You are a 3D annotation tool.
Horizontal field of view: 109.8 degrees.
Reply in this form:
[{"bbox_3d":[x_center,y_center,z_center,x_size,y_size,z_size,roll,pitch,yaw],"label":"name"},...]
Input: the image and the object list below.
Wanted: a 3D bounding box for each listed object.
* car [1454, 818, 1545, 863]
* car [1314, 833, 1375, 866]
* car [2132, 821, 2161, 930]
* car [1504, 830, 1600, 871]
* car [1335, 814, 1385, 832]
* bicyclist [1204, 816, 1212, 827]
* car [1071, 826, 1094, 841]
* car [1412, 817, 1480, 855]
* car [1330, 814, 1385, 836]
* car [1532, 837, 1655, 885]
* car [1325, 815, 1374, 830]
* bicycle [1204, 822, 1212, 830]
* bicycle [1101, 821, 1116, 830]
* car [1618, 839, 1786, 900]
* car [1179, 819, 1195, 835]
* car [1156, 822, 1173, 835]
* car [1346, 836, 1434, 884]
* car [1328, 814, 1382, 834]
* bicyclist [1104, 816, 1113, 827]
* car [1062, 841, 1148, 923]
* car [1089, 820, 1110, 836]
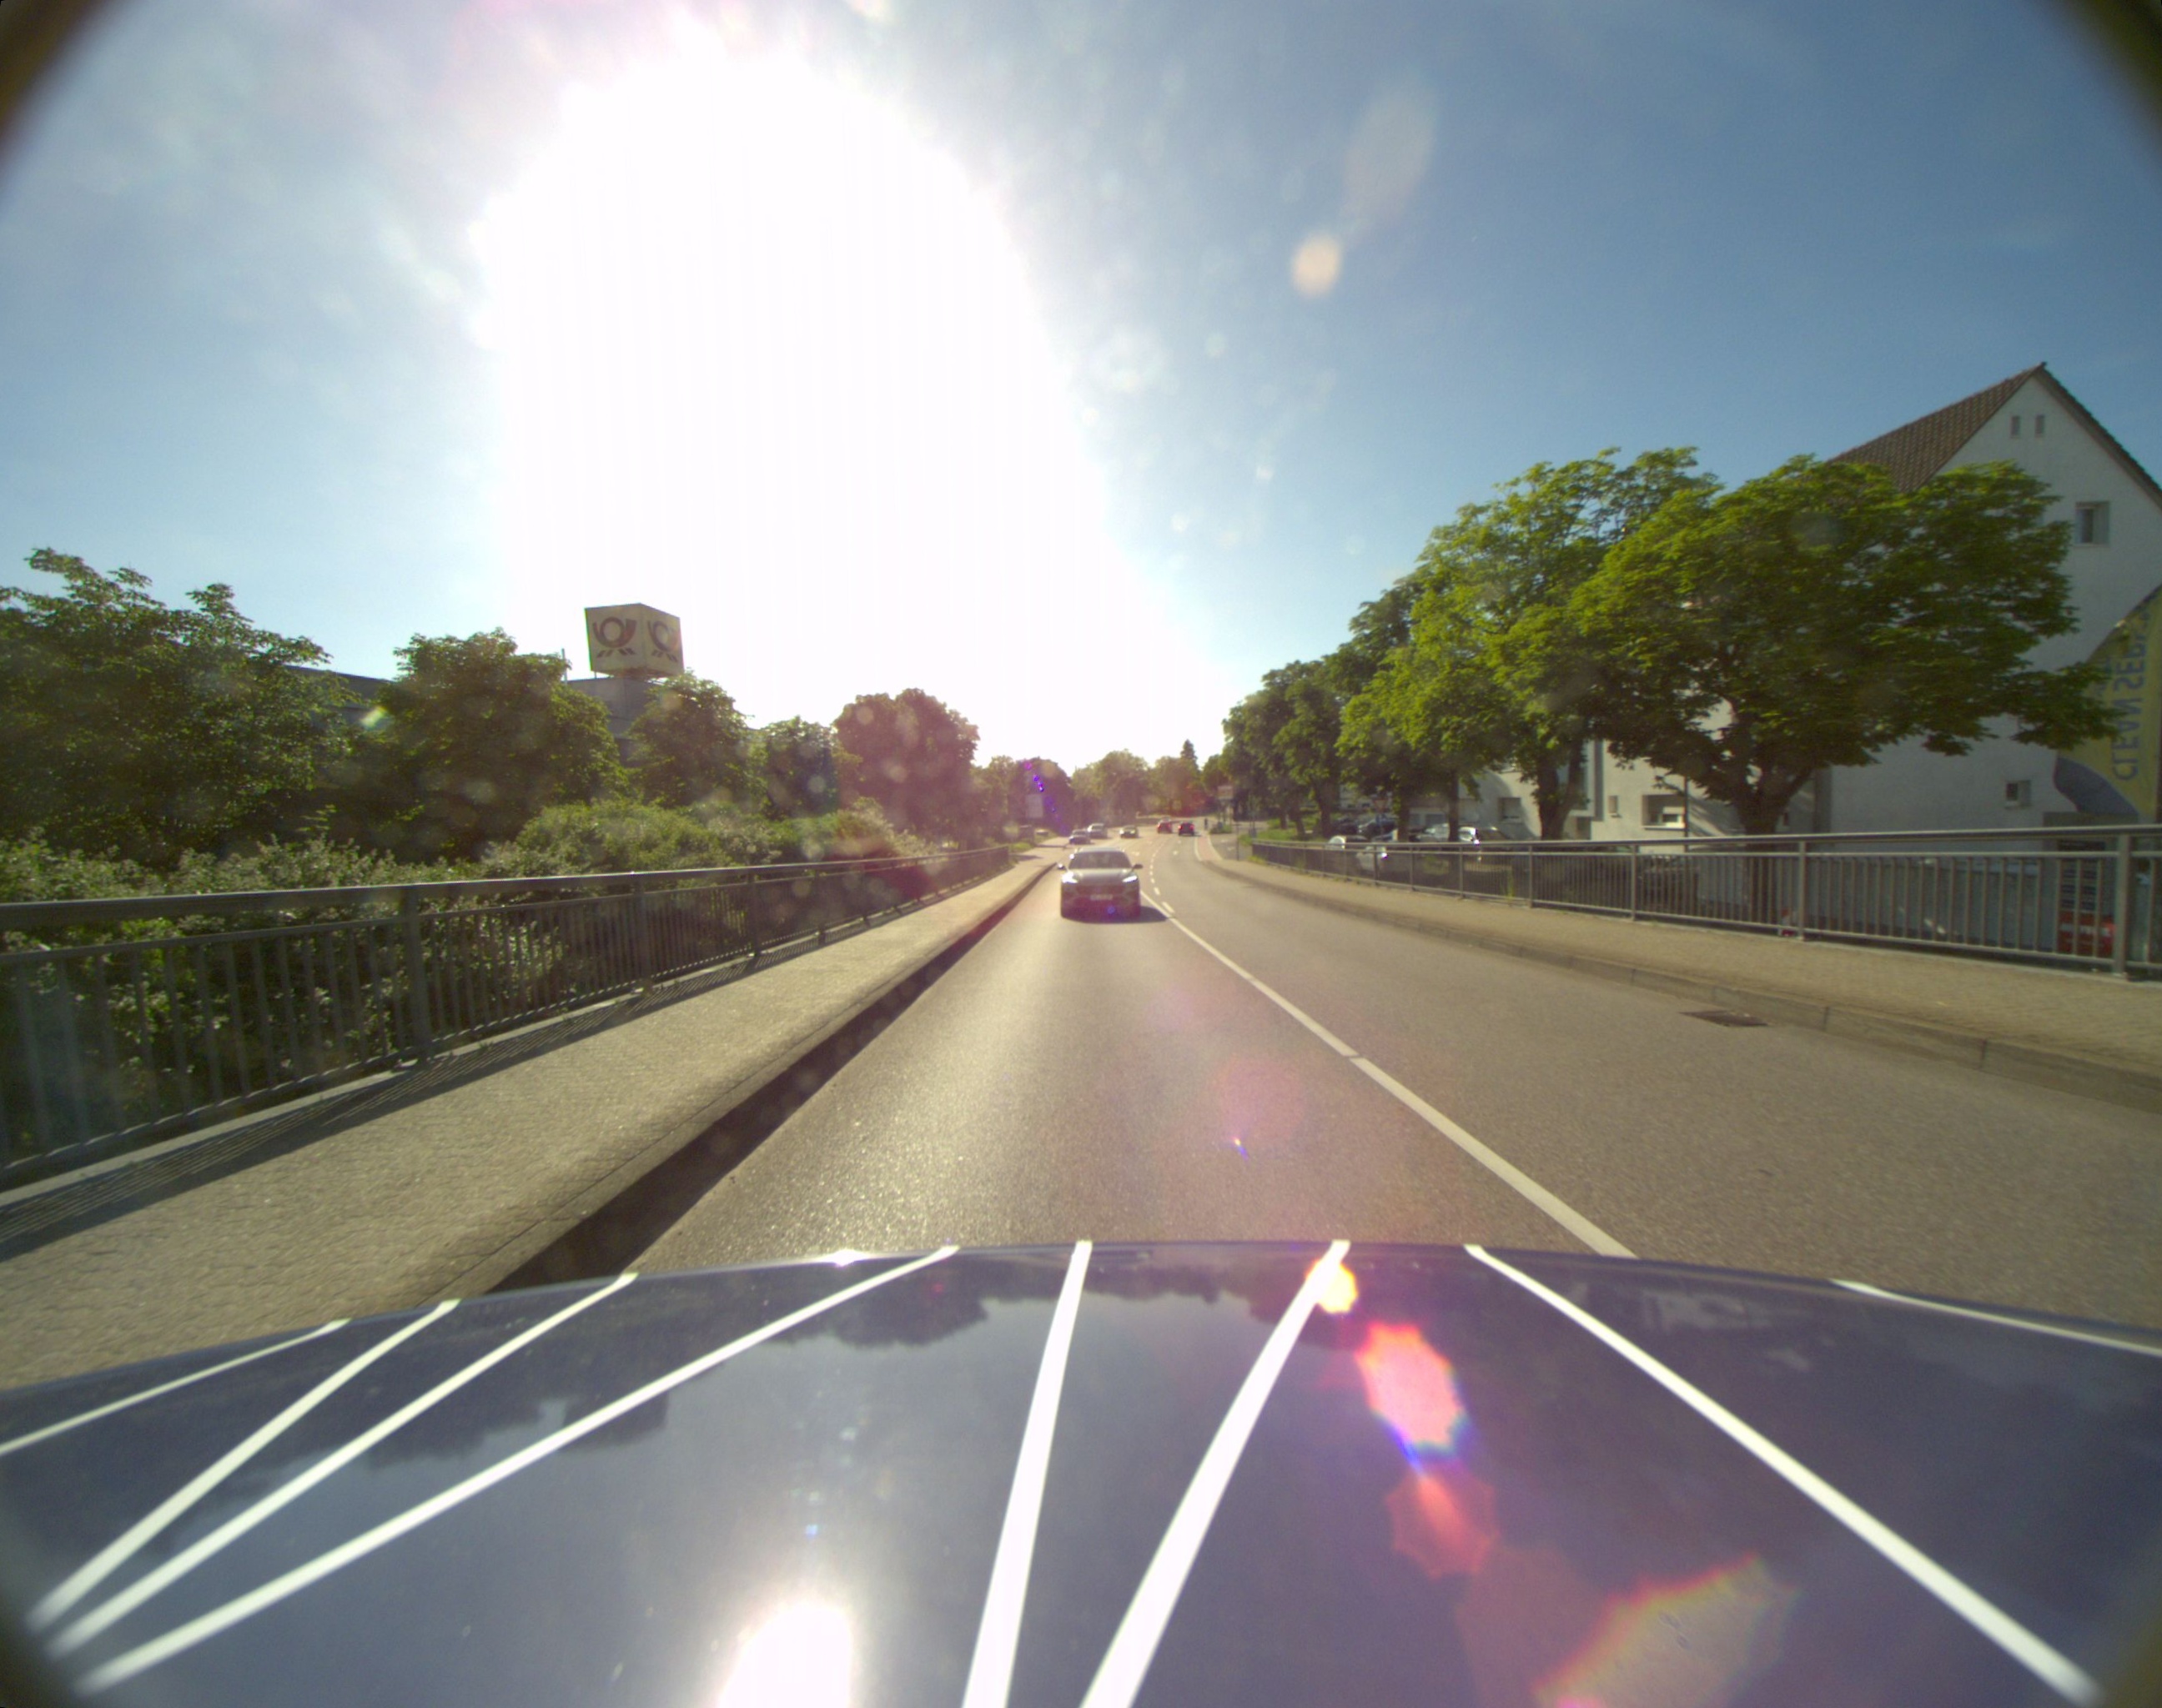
[{"bbox_3d":[20.939,-0.747,38.230,2.074,1.920,4.784,-3,4,3],"label":"car"},{"bbox_3d":[14.671,-0.315,42.588,2.042,1.456,4.960,-3,4,5],"label":"car"},{"bbox_3d":[26.735,0.556,15.520,2.136,2.547,5.886,-2,2,-4],"label":"car"},{"bbox_3d":[20.311,-0.187,32.772,3.673,1.502,1.780,-5,4,-24],"label":"car"},{"bbox_3d":[26.069,-2.925,71.083,3.880,1.405,1.943,-4,3,-10],"label":"car"},{"bbox_3d":[17.386,-4.447,103.795,0.934,1.394,0.823,-2,4,12],"label":"bicyclist"},{"bbox_3d":[0.157,-2.195,80.081,1.812,1.412,4.424,-2,4,8],"label":"car"},{"bbox_3d":[21.061,-1.105,44.071,1.751,1.920,5.100,-3,4,3],"label":"car"},{"bbox_3d":[23.788,-2.509,65.371,3.999,1.602,1.920,-3,3,-5],"label":"car"},{"bbox_3d":[20.164,0.221,29.916,4.003,1.589,1.996,-3,3,-19],"label":"car"},{"bbox_3d":[26.115,-3.079,73.967,3.933,1.234,2.041,-4,3,-12],"label":"car"},{"bbox_3d":[17.419,-3.825,103.798,0.938,1.011,2.197,-2,3,12],"label":"bicycle"},{"bbox_3d":[4.205,-4.360,116.111,0.900,1.119,2.957,-1,4,32],"label":"bicycle"},{"bbox_3d":[19.969,0.461,24.544,4.011,1.575,1.896,-3,3,-5],"label":"car"},{"bbox_3d":[12.855,-3.322,91.796,1.856,1.726,4.270,-2,3,9],"label":"car"},{"bbox_3d":[11.124,-3.444,101.186,1.917,1.591,3.998,0,4,2],"label":"car"},{"bbox_3d":[14.086,0.208,34.954,2.042,1.720,5.233,-4,4,3],"label":"car"},{"bbox_3d":[24.474,-2.709,67.925,4.001,1.552,1.997,-4,3,-12],"label":"car"},{"bbox_3d":[4.187,-4.934,116.071,0.890,1.684,1.192,-1,4,32],"label":"bicyclist"},{"bbox_3d":[0.636,0.627,18.310,1.714,1.635,4.056,-4,-1,3],"label":"car"},{"bbox_3d":[2.262,-3.104,91.779,1.876,1.713,4.612,0,5,11],"label":"car"}]
